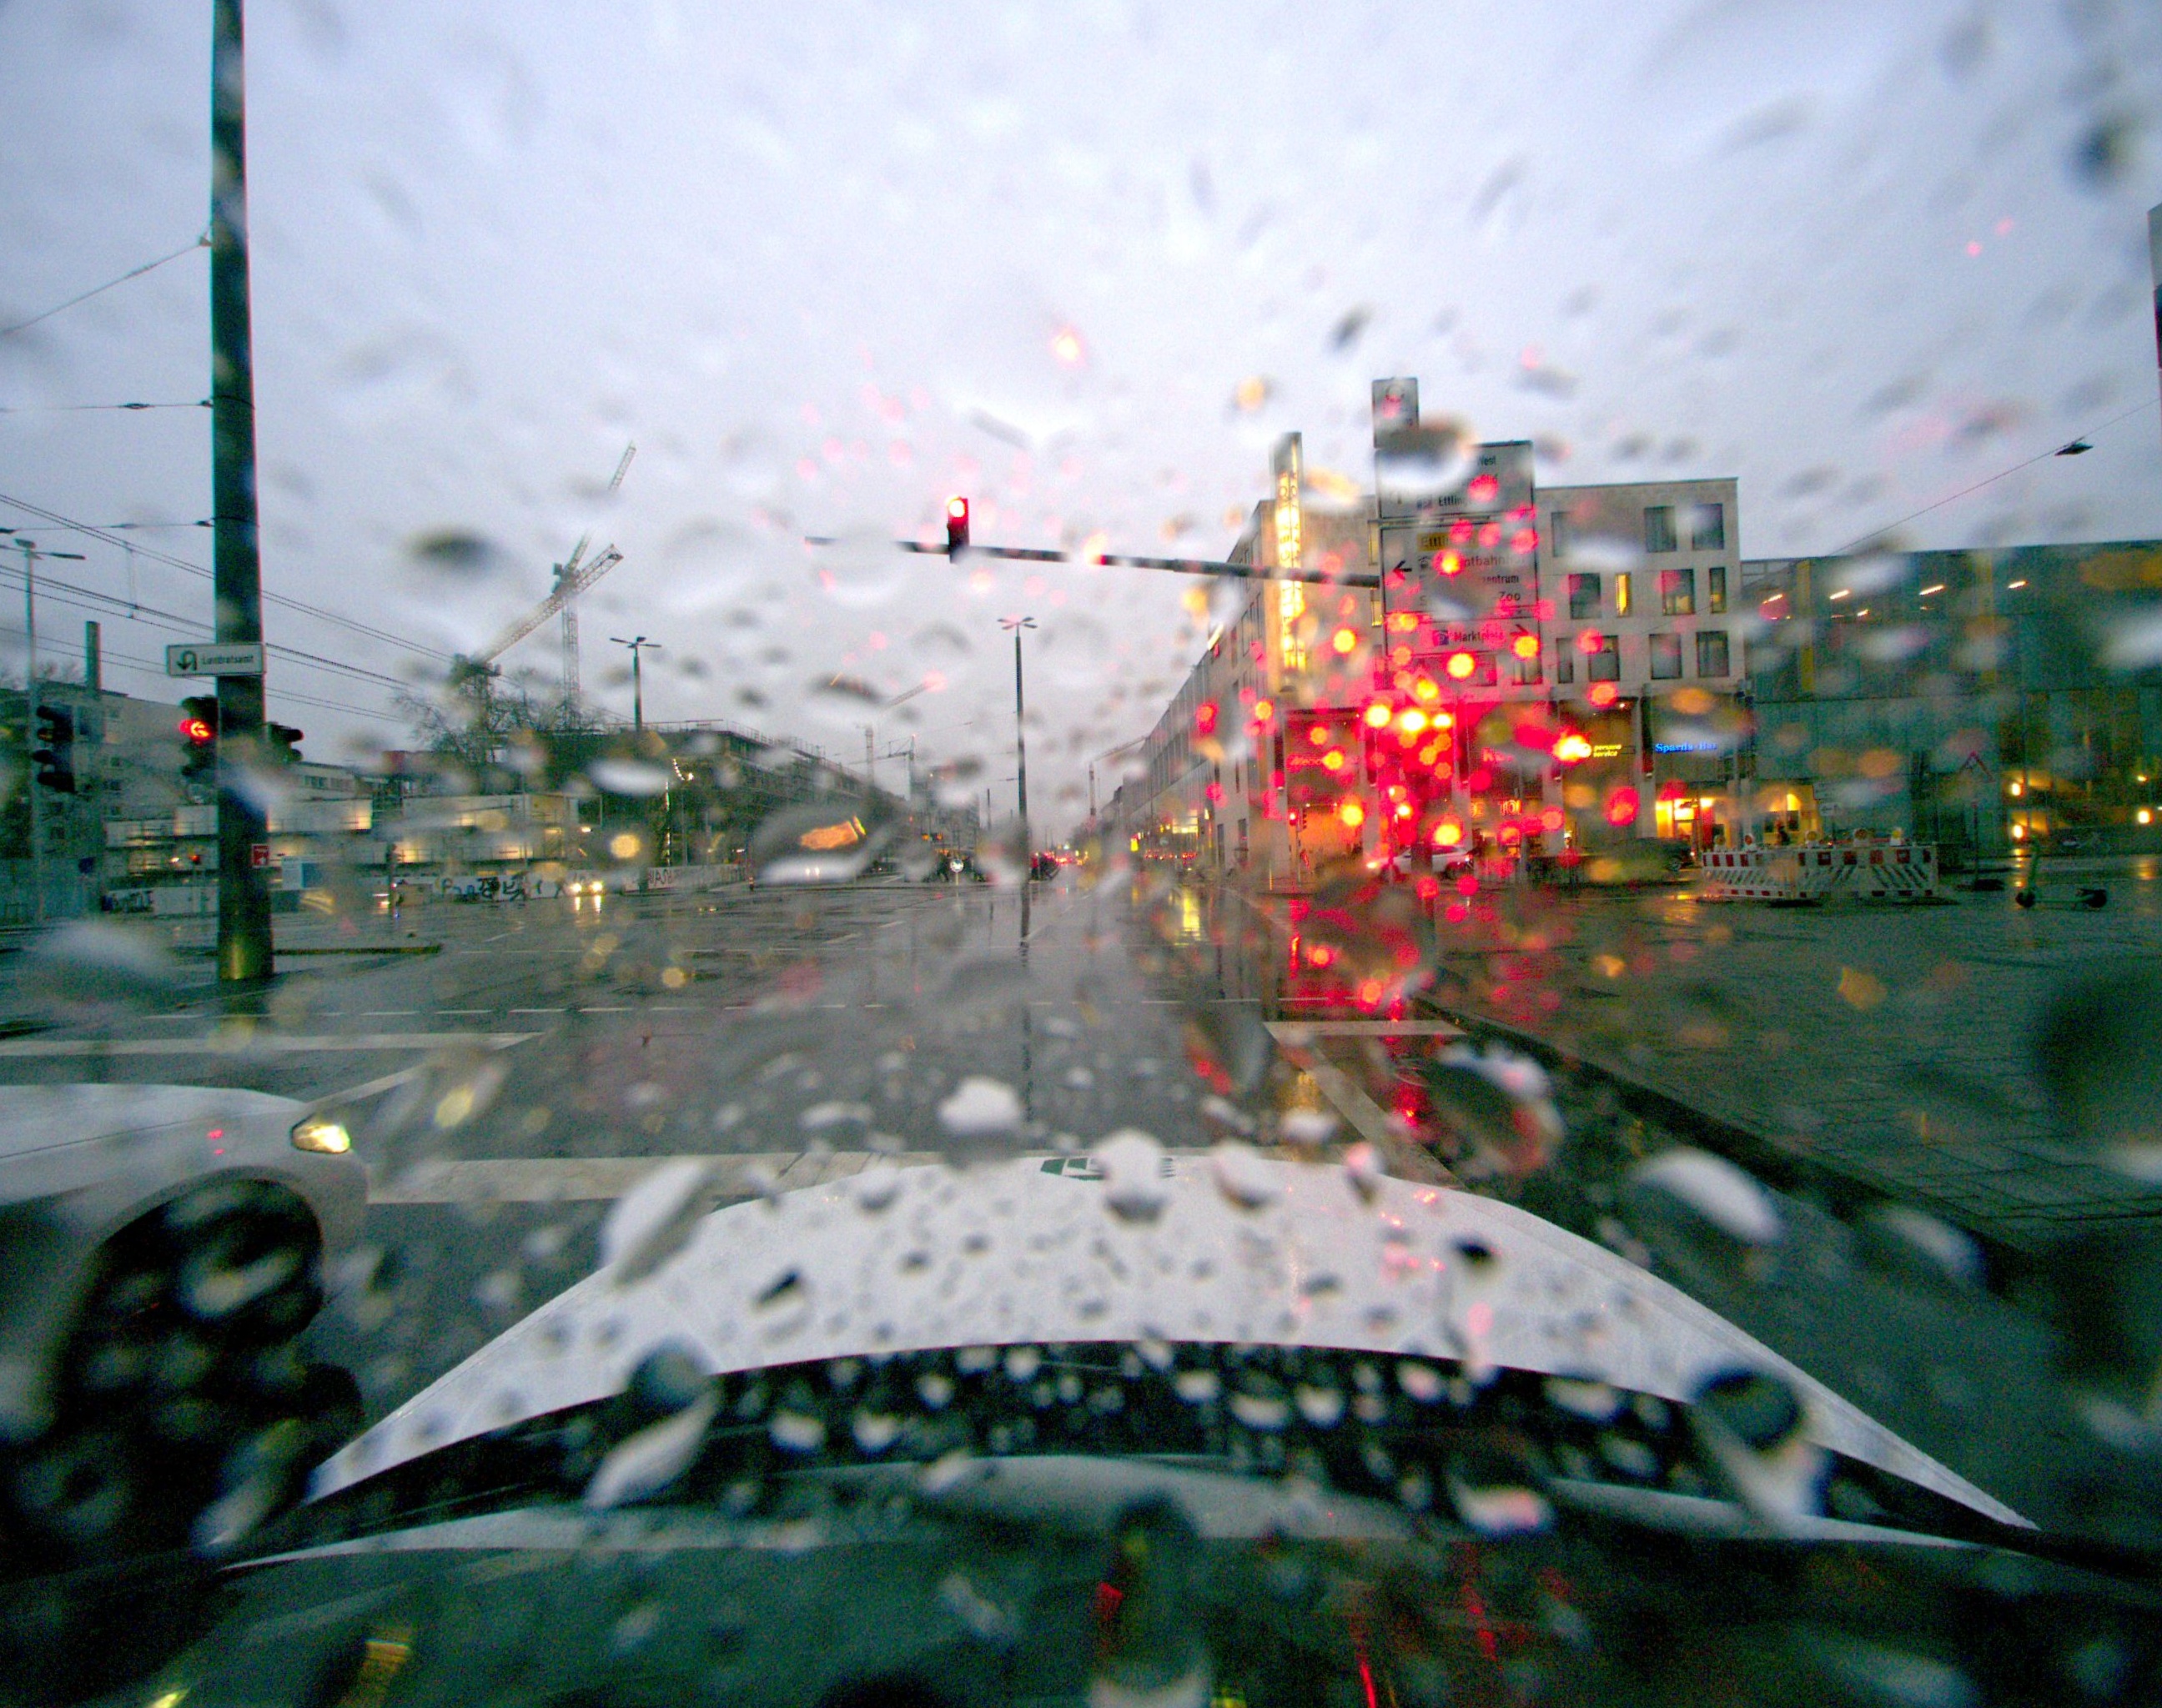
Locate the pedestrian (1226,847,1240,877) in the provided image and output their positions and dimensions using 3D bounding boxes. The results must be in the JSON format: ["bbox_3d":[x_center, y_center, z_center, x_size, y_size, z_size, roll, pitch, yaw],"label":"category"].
[{"bbox_3d":[8.817,0.465,47.282,0.736,1.667,0.402,-2,-1,13],"label":"pedestrian"}]

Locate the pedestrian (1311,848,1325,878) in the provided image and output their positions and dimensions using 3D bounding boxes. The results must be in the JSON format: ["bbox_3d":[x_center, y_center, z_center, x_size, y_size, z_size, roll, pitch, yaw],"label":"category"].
[{"bbox_3d":[14.225,0.533,48.848,0.615,1.760,0.482,-2,-1,1],"label":"pedestrian"}]

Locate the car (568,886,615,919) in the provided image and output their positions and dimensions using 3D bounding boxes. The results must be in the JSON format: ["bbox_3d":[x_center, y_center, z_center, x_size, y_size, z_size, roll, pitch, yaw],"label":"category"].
[{"bbox_3d":[-33.694,3.280,56.138,1.760,2.013,3.977,-2,0,-17],"label":"car"}]

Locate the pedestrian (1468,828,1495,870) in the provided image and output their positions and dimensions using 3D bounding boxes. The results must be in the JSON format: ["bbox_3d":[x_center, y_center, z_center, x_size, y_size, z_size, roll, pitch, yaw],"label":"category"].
[{"bbox_3d":[15.519,-0.193,31.575,0.775,1.595,0.616,-2,-1,17],"label":"pedestrian"}]

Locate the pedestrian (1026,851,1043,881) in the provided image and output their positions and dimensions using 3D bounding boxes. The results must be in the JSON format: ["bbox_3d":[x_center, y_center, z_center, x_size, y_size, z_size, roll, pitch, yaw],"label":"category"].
[{"bbox_3d":[-2.705,0.675,47.149,0.826,1.679,0.620,-2,-1,7],"label":"pedestrian"}]

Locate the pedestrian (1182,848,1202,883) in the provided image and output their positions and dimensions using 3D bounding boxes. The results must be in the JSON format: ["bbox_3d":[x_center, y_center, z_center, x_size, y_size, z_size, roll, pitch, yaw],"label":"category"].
[{"bbox_3d":[5.203,0.531,38.090,0.812,1.570,0.536,-2,-1,0],"label":"pedestrian"}]

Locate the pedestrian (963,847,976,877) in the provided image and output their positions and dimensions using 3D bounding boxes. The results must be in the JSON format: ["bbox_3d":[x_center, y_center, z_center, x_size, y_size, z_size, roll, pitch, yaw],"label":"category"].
[{"bbox_3d":[-6.595,0.472,48.180,0.617,1.746,0.612,-2,-1,-4],"label":"pedestrian"}]

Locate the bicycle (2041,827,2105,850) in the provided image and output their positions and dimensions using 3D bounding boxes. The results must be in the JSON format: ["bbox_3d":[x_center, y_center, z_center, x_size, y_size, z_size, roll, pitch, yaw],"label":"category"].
[{"bbox_3d":[48.616,-0.735,39.939,0.613,1.033,2.138,-2,0,3],"label":"bicycle"}]

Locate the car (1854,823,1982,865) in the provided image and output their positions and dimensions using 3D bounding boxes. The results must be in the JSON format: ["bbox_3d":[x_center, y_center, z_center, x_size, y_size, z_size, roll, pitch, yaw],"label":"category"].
[{"bbox_3d":[34.631,-0.398,33.758,3.558,1.582,1.676,-2,-1,-1],"label":"car"}]

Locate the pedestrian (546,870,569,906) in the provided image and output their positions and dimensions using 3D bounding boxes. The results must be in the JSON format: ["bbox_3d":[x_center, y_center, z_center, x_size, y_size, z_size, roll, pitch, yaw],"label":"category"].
[{"bbox_3d":[-30.271,1.940,47.095,0.792,2.014,0.745,-2,-1,-9],"label":"pedestrian"}]

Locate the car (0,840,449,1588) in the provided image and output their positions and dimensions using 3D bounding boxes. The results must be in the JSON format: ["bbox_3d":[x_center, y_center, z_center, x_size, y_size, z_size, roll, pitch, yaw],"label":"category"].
[{"bbox_3d":[-3.187,0.760,0.352,1.903,1.520,4.923,-2,0,0],"label":"car"}]

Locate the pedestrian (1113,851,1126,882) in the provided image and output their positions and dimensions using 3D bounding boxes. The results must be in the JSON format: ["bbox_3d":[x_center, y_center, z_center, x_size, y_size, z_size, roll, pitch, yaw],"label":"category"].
[{"bbox_3d":[2.264,0.741,48.429,0.700,1.760,0.652,-2,-1,1],"label":"pedestrian"}]

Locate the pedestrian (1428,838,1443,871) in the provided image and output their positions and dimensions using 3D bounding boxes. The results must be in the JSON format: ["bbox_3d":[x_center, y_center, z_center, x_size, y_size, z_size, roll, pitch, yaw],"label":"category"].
[{"bbox_3d":[18.243,0.041,41.890,0.530,1.685,0.552,-3,-1,39],"label":"pedestrian"}]

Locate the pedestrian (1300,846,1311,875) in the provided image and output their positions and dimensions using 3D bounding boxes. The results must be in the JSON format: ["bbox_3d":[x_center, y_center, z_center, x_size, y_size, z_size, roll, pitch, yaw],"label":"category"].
[{"bbox_3d":[13.632,0.383,49.545,0.510,1.760,0.374,-2,-1,1],"label":"pedestrian"}]

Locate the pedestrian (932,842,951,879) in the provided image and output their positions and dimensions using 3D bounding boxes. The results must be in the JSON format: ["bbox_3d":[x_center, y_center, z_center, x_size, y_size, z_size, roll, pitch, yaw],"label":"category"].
[{"bbox_3d":[-7.621,0.362,44.602,0.781,2.013,0.606,-2,-1,-37],"label":"pedestrian"}]

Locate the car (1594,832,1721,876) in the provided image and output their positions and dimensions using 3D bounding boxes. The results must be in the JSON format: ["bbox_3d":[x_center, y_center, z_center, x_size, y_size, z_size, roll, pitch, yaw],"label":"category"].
[{"bbox_3d":[23.683,0.014,33.533,4.037,1.582,1.676,-2,-1,-1],"label":"car"}]

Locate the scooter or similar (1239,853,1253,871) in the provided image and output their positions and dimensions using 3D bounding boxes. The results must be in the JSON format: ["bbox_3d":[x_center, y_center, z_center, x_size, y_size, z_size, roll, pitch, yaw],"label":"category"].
[{"bbox_3d":[9.533,0.455,47.119,0.736,0.993,0.402,-2,-1,13],"label":"scooter or similar"}]

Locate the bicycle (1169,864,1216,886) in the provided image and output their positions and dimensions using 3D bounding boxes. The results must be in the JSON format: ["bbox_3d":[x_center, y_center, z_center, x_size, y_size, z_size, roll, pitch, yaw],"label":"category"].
[{"bbox_3d":[5.217,0.969,38.074,2.121,0.991,0.541,-1,-1,0],"label":"bicycle"}]

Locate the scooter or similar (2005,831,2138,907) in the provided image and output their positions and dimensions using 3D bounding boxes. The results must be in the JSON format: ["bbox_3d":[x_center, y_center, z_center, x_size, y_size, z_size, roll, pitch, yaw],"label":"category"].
[{"bbox_3d":[15.839,0.232,13.067,0.603,1.130,1.236,-2,0,2],"label":"scooter or similar"}]

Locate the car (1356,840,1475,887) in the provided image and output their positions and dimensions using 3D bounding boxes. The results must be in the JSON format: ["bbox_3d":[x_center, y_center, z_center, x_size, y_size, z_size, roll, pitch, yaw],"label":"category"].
[{"bbox_3d":[14.034,0.384,34.359,4.283,1.761,1.709,-2,0,4],"label":"car"}]

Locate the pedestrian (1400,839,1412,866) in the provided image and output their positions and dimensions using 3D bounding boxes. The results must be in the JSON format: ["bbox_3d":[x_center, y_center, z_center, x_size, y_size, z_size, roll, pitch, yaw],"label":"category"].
[{"bbox_3d":[20.930,-0.091,52.512,0.530,1.718,0.505,-3,-1,39],"label":"pedestrian"}]

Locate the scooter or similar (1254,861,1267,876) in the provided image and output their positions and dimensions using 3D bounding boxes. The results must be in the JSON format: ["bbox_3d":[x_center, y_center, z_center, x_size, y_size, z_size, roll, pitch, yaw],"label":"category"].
[{"bbox_3d":[11.292,0.919,51.320,0.738,0.916,0.401,-2,-1,3],"label":"scooter or similar"}]

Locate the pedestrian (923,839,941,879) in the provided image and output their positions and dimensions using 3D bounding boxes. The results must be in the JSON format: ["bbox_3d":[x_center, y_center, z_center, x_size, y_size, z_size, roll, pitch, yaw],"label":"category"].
[{"bbox_3d":[-7.965,0.260,43.636,0.691,2.087,0.606,-2,-1,-39],"label":"pedestrian"}]

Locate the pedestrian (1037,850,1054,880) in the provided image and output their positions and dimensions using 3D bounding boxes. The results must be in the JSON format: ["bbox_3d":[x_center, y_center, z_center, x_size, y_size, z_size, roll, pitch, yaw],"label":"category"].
[{"bbox_3d":[-2.094,0.634,47.787,0.838,1.688,0.678,-2,-1,8],"label":"pedestrian"}]

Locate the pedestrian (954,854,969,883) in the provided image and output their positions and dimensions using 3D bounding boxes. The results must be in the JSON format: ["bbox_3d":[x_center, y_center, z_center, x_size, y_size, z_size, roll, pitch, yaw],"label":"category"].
[{"bbox_3d":[-6.800,0.819,46.268,0.704,1.619,0.613,-2,-1,-1],"label":"pedestrian"}]

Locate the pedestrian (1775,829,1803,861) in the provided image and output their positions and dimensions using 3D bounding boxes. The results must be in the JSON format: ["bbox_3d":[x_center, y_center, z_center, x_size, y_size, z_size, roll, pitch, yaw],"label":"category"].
[{"bbox_3d":[36.078,-0.450,41.521,0.791,1.631,0.709,-1,-1,1],"label":"pedestrian"}]

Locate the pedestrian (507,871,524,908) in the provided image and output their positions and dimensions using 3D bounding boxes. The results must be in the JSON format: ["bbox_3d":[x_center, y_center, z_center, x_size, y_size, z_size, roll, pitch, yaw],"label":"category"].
[{"bbox_3d":[-31.841,1.990,45.829,0.507,2.014,0.638,-3,-2,-9],"label":"pedestrian"}]

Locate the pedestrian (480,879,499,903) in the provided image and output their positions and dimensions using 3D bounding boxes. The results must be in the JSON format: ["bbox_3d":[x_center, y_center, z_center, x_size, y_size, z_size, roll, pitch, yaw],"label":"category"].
[{"bbox_3d":[-38.946,2.425,53.610,0.638,1.529,0.801,-3,-1,35],"label":"pedestrian"}]

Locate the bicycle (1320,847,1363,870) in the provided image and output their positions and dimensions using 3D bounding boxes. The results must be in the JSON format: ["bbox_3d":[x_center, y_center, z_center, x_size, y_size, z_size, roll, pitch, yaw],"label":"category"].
[{"bbox_3d":[16.120,0.294,50.410,2.420,1.329,0.634,-2,0,-4],"label":"bicycle"}]

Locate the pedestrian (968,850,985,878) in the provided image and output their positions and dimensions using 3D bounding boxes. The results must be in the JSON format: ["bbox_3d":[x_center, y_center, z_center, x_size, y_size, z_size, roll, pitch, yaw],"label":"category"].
[{"bbox_3d":[-5.966,0.564,46.545,0.806,1.607,0.746,-2,-1,1],"label":"pedestrian"}]

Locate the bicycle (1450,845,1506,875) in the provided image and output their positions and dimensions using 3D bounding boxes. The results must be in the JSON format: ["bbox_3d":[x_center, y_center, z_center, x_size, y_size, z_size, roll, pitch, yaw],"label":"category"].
[{"bbox_3d":[15.408,0.227,31.624,1.831,1.093,0.620,-2,-1,16],"label":"bicycle"}]
